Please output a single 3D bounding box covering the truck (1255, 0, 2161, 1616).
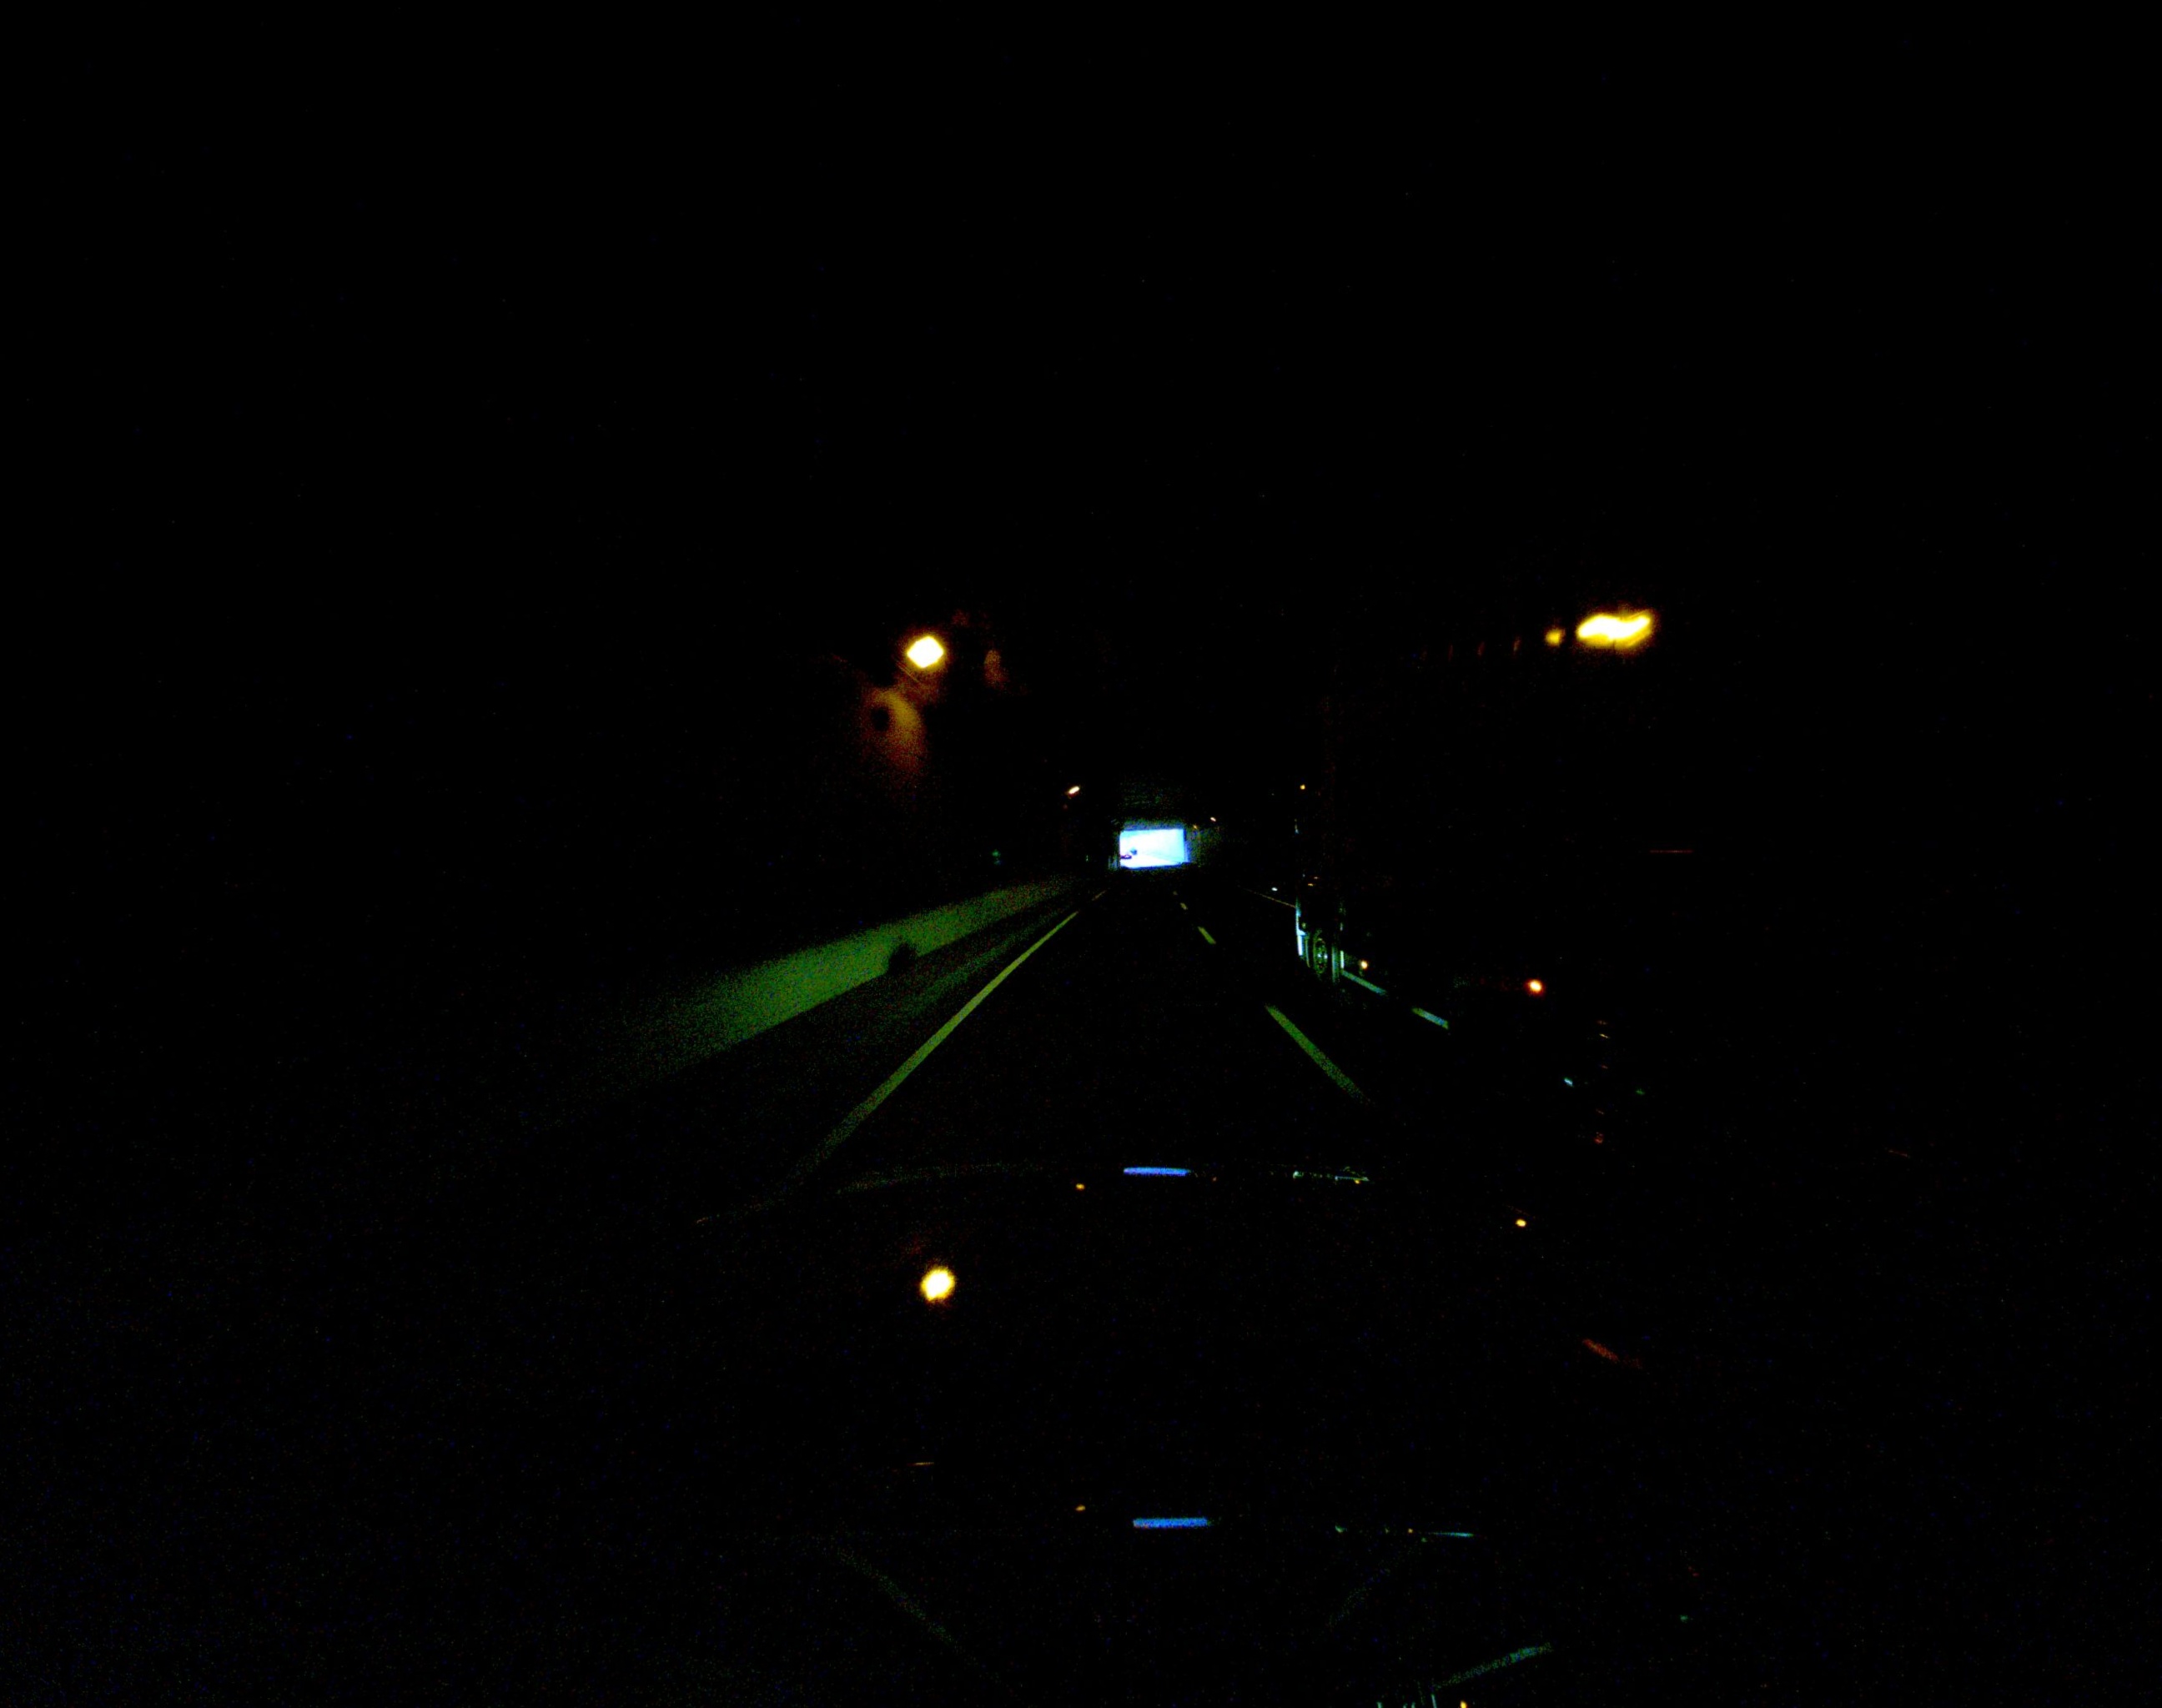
[{"bbox_3d":[3.472,-0.592,4.895,2.878,3.913,9.912,-2,0,2],"label":"truck"}]

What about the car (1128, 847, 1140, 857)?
[{"bbox_3d":[10.047,-0.376,155.110,1.864,1.732,3.998,-2,-1,-1],"label":"car"}]

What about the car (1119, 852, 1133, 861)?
[{"bbox_3d":[7.745,0.433,139.972,1.837,1.388,3.995,-2,-1,-3],"label":"car"}]
